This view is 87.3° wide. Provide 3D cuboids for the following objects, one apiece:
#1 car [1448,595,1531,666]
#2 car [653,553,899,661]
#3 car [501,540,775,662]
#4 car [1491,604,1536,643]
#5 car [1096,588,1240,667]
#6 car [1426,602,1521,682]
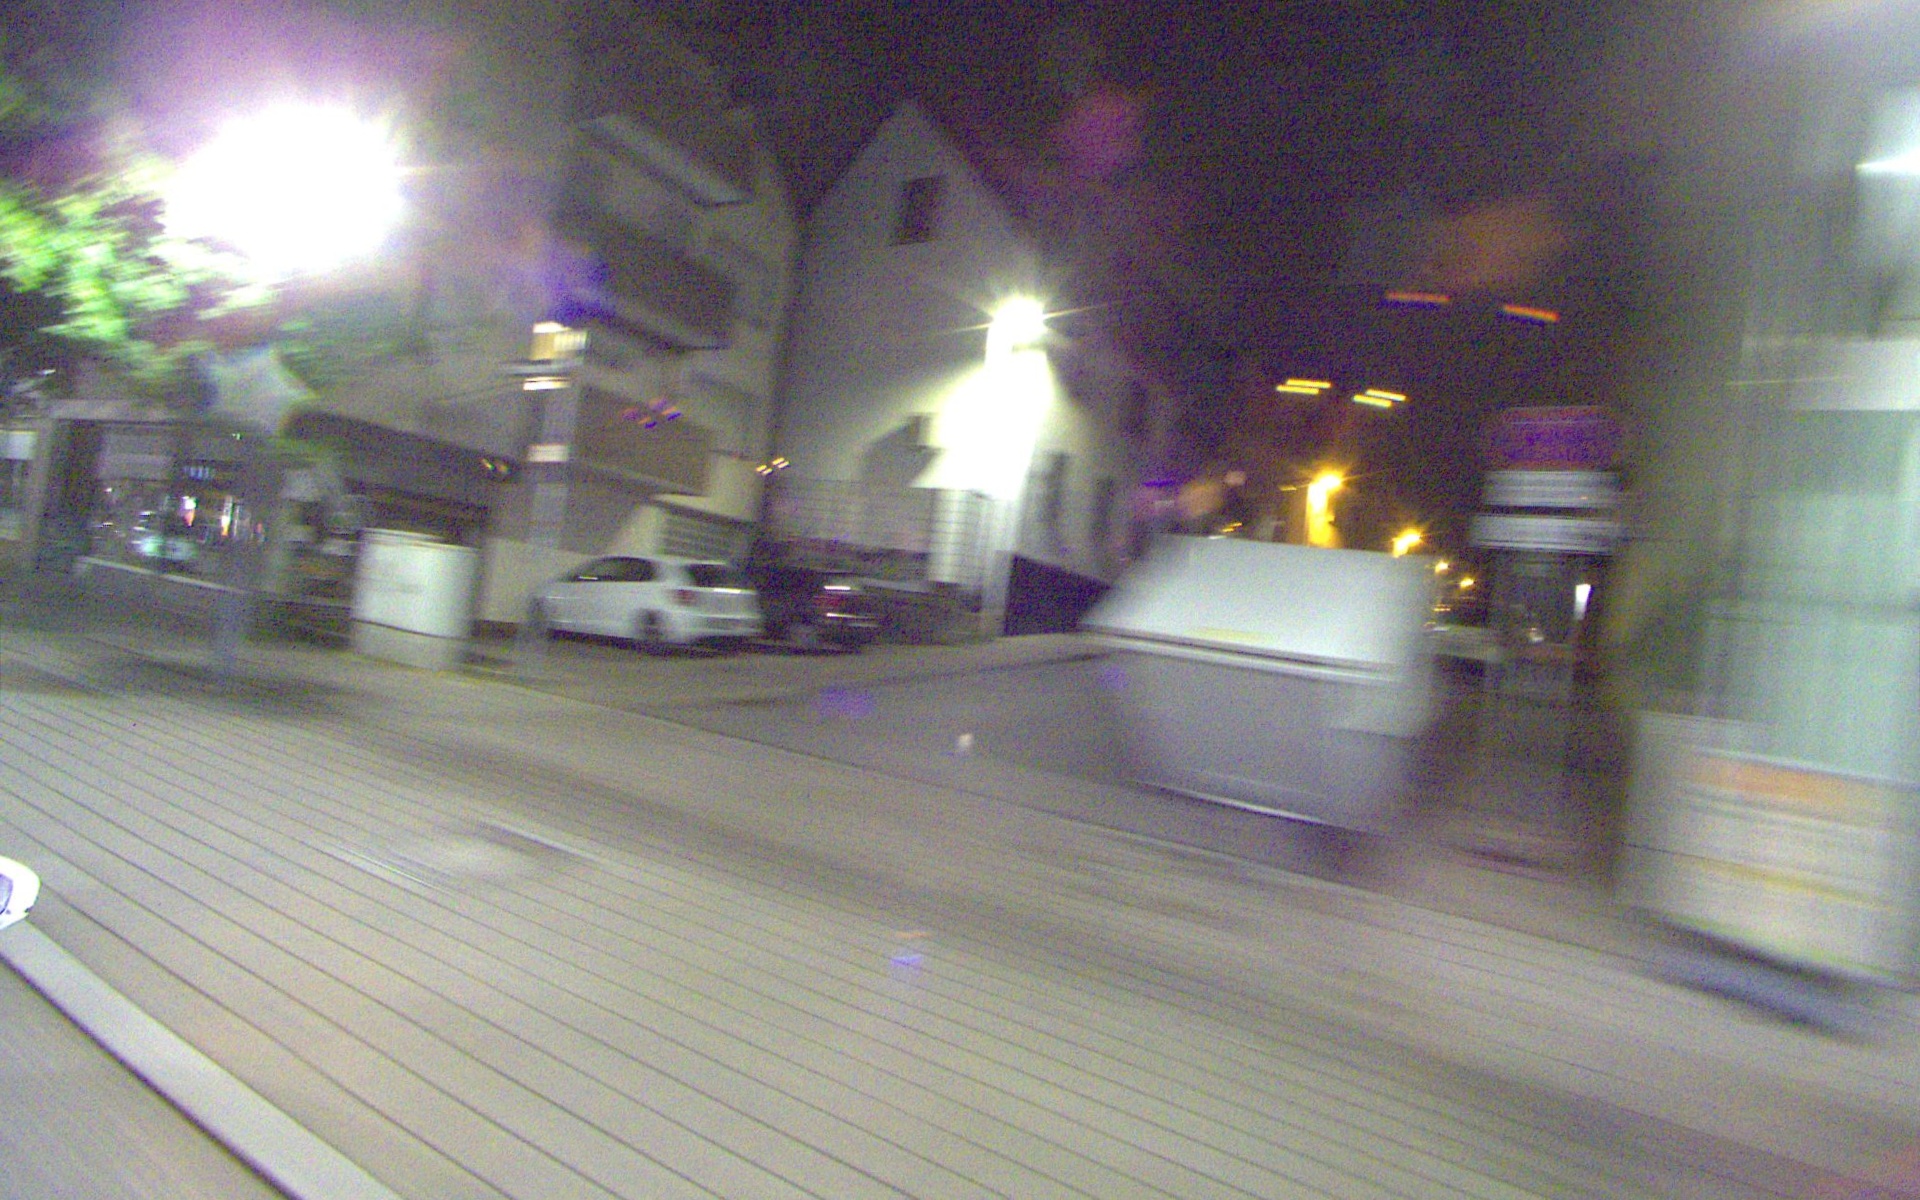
[{"bbox_3d":[14.935,0.793,28.289,1.698,1.672,4.042,7,4,30],"label":"car"},{"bbox_3d":[-3.283,0.087,17.758,3.989,1.480,1.805,6,2,31],"label":"car"},{"bbox_3d":[-5.044,-0.022,15.634,3.989,1.480,1.805,6,2,31],"label":"car"},{"bbox_3d":[27.875,1.131,50.571,1.698,1.672,4.042,7,4,30],"label":"car"},{"bbox_3d":[4.426,0.491,20.988,1.698,1.359,4.043,6,3,29],"label":"car"},{"bbox_3d":[12.450,0.927,24.276,1.698,1.572,4.043,7,4,29],"label":"car"}]
